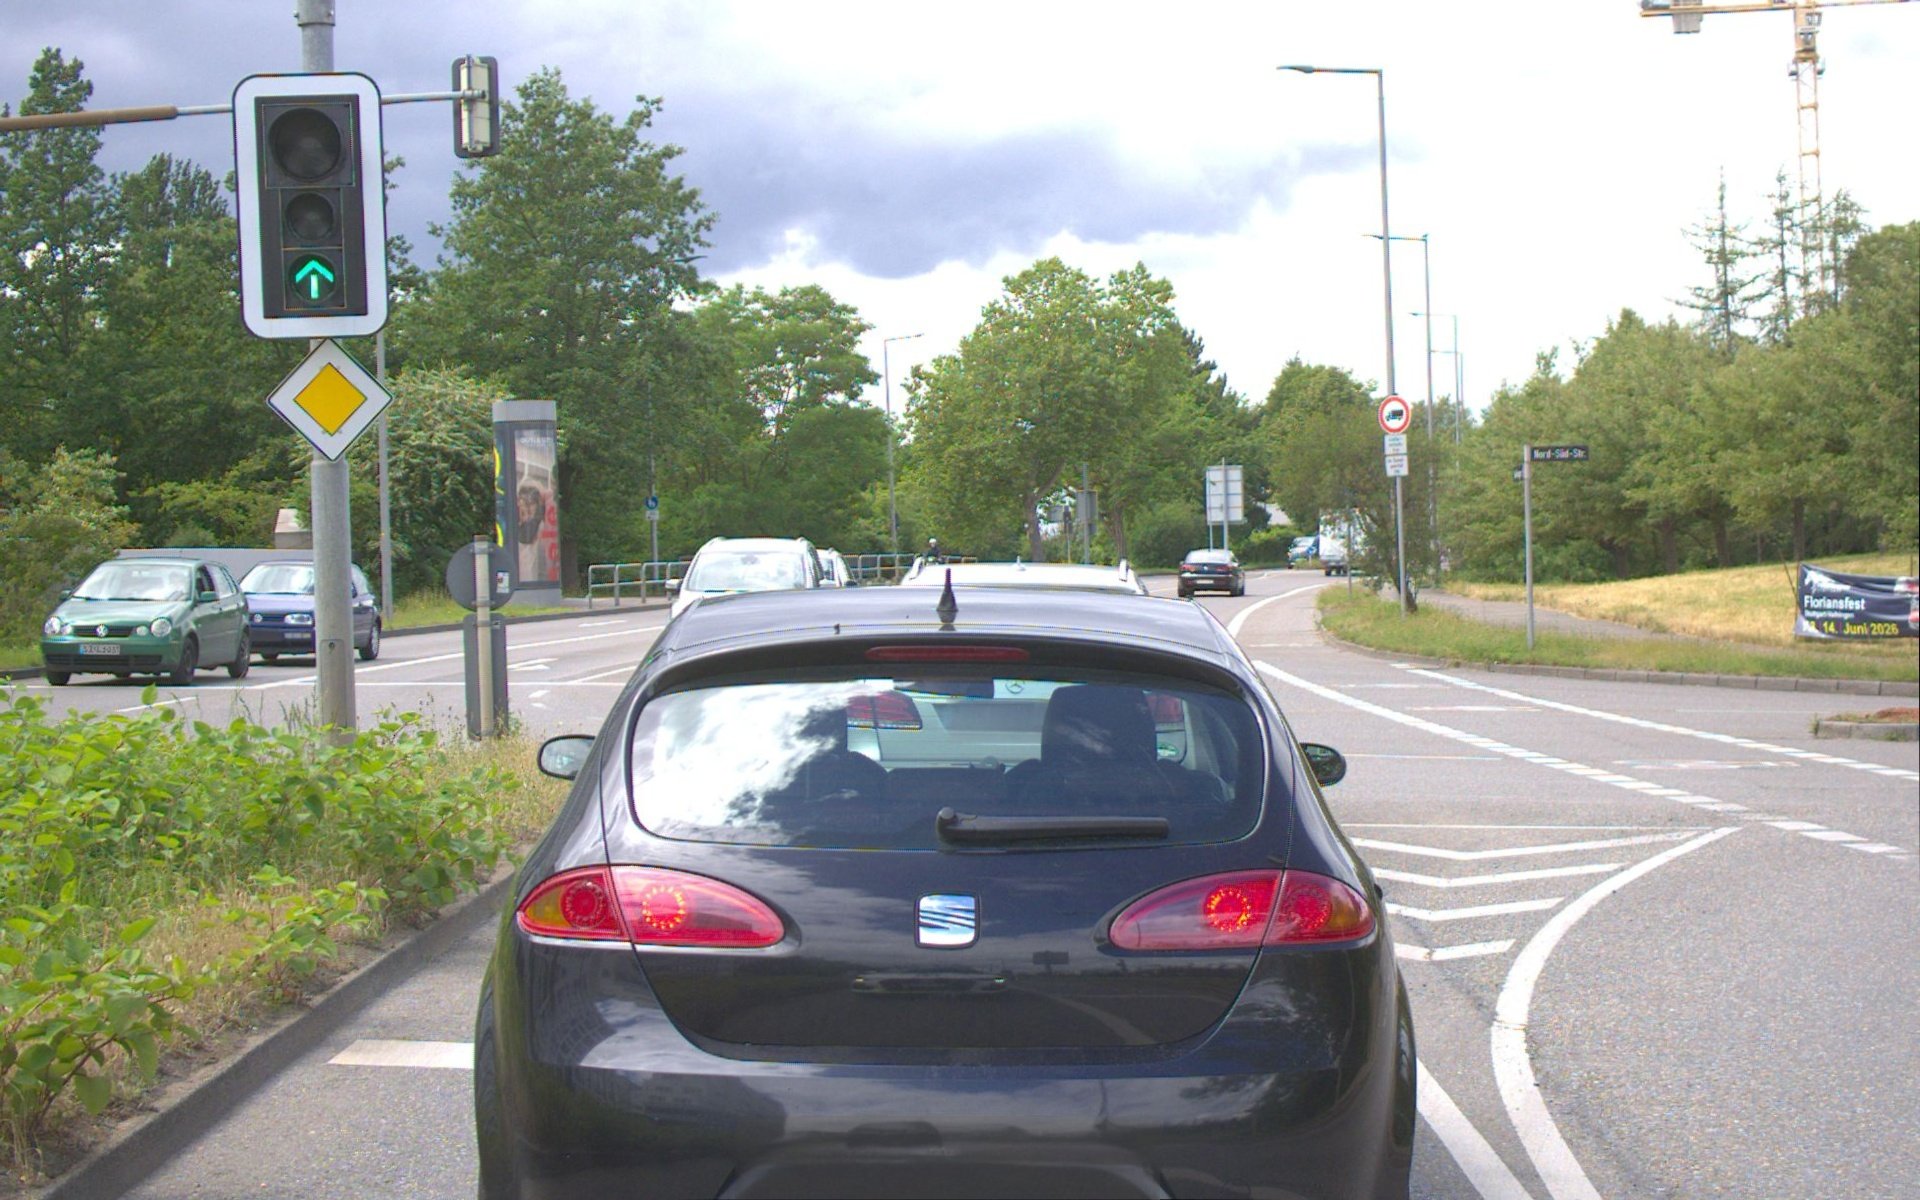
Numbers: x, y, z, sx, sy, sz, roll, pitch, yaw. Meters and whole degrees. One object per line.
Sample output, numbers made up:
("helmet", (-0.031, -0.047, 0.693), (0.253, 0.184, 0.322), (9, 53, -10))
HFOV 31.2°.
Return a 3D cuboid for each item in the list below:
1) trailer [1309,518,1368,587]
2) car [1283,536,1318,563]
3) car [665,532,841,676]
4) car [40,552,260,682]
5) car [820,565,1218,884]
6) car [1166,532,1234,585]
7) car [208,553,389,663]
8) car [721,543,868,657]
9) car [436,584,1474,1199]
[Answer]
("trailer", (17.239, -2.146, 156.251), (2.492, 3.063, 5.585), (1, 0, 8))
("car", (20.598, -3.028, 207.920), (1.715, 1.576, 3.740), (1, 0, 11))
("car", (-2.532, 0.000, 43.077), (1.820, 1.681, 4.645), (1, 1, 1))
("car", (-9.441, 0.164, 40.308), (1.605, 1.427, 3.752), (0, 1, 2))
("car", (0.289, 0.565, 17.867), (1.834, 1.462, 3.751), (1, 0, 1))
("car", (7.271, -1.281, 104.250), (1.994, 1.560, 4.470), (0, 1, 4))
("car", (-9.003, 0.079, 47.074), (1.554, 1.414, 3.895), (0, 1, 3))
("car", (-2.324, -0.035, 49.059), (1.660, 1.513, 4.084), (1, 1, 3))
("car", (-0.027, 0.700, 7.423), (1.711, 1.412, 3.459), (0, 1, -1))
